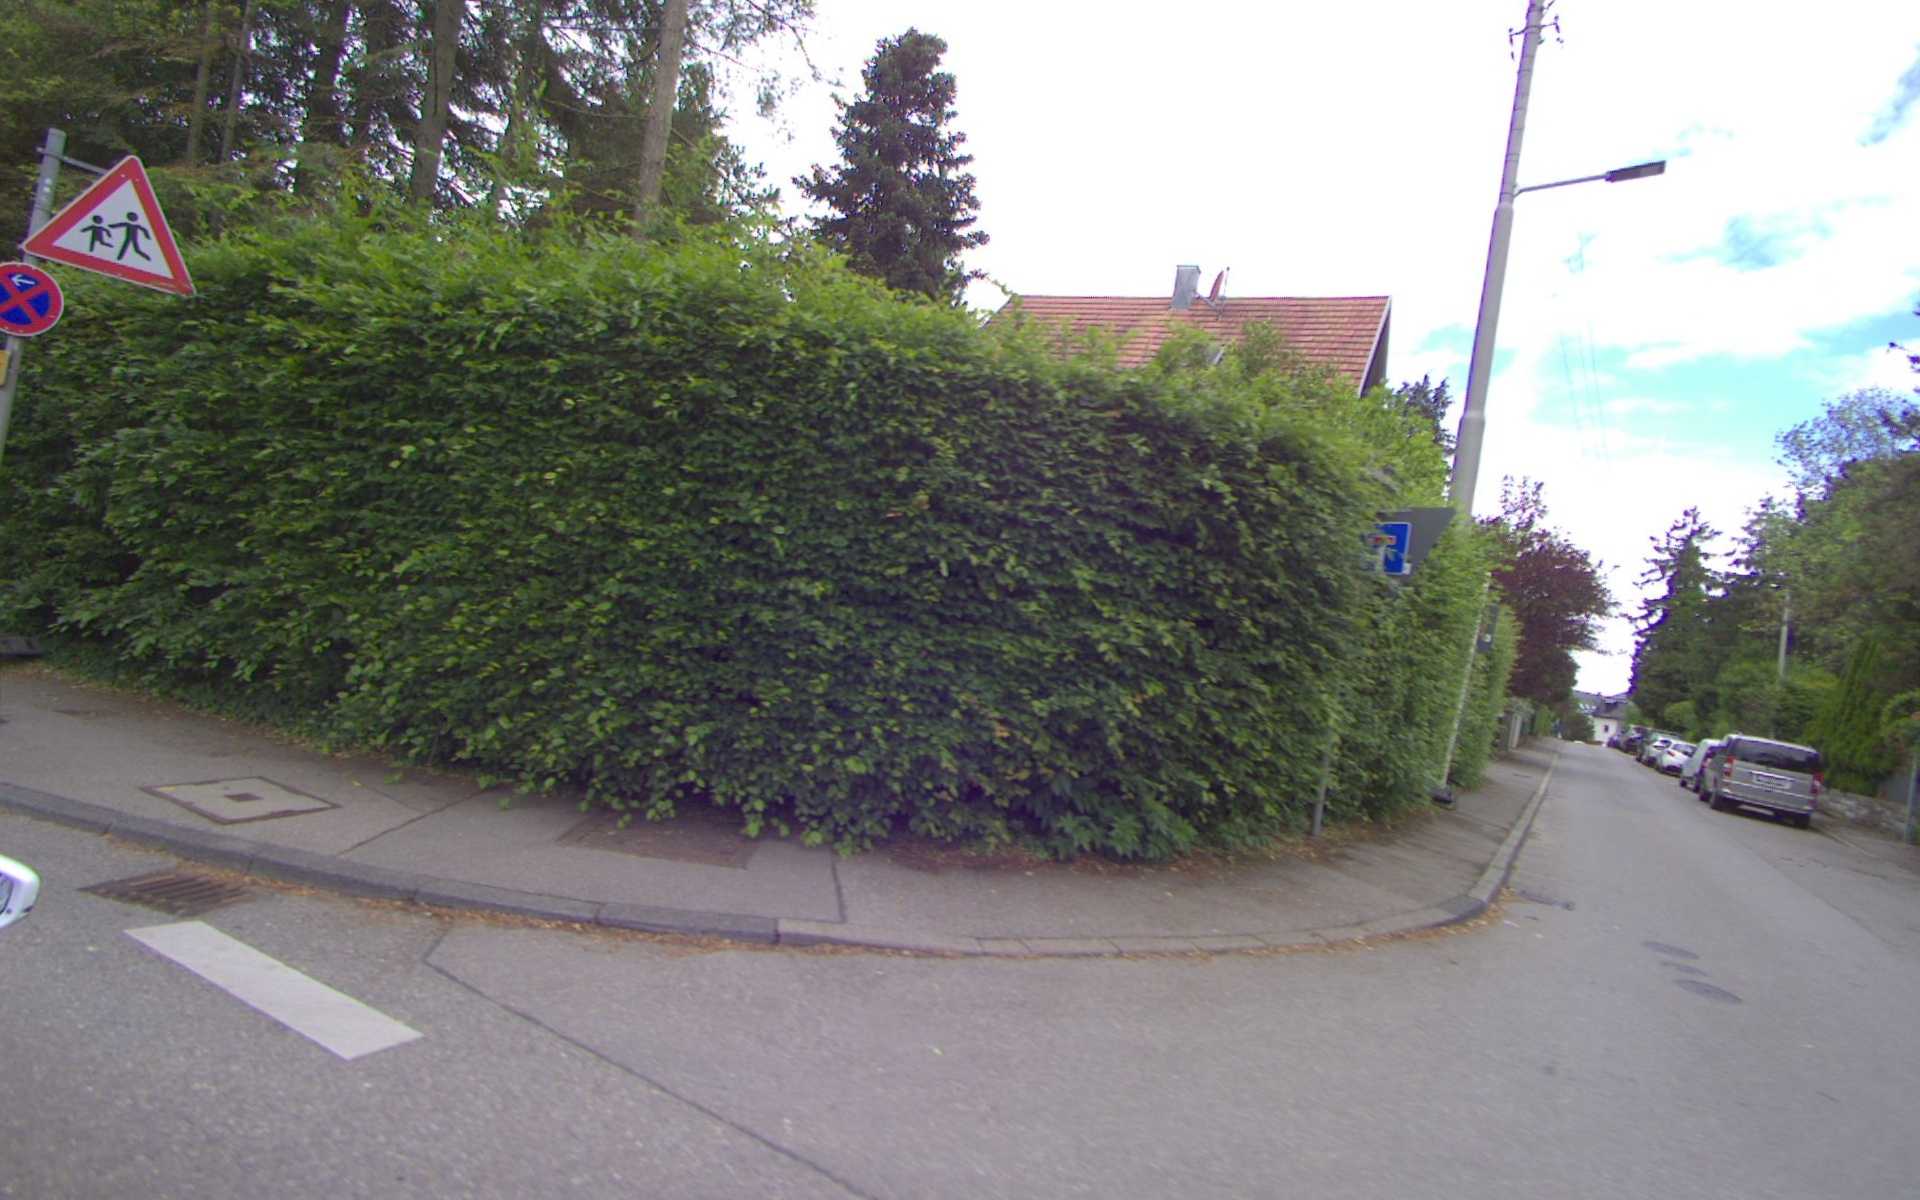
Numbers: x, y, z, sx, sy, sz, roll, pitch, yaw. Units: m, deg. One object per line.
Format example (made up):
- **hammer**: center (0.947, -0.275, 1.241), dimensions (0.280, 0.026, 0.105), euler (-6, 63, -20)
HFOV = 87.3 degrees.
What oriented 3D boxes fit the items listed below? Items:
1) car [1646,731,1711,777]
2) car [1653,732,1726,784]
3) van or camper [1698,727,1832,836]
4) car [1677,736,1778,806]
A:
- **car**: center (33.596, 7.158, 47.123), dimensions (1.967, 1.740, 3.996), euler (6, -3, 31)
- **car**: center (30.850, 6.650, 42.646), dimensions (1.967, 1.740, 3.996), euler (6, -3, 31)
- **van or camper**: center (20.185, 4.441, 25.448), dimensions (1.968, 2.038, 5.013), euler (8, 0, 34)
- **car**: center (24.512, 5.406, 32.266), dimensions (1.967, 1.740, 3.996), euler (6, -3, 31)
